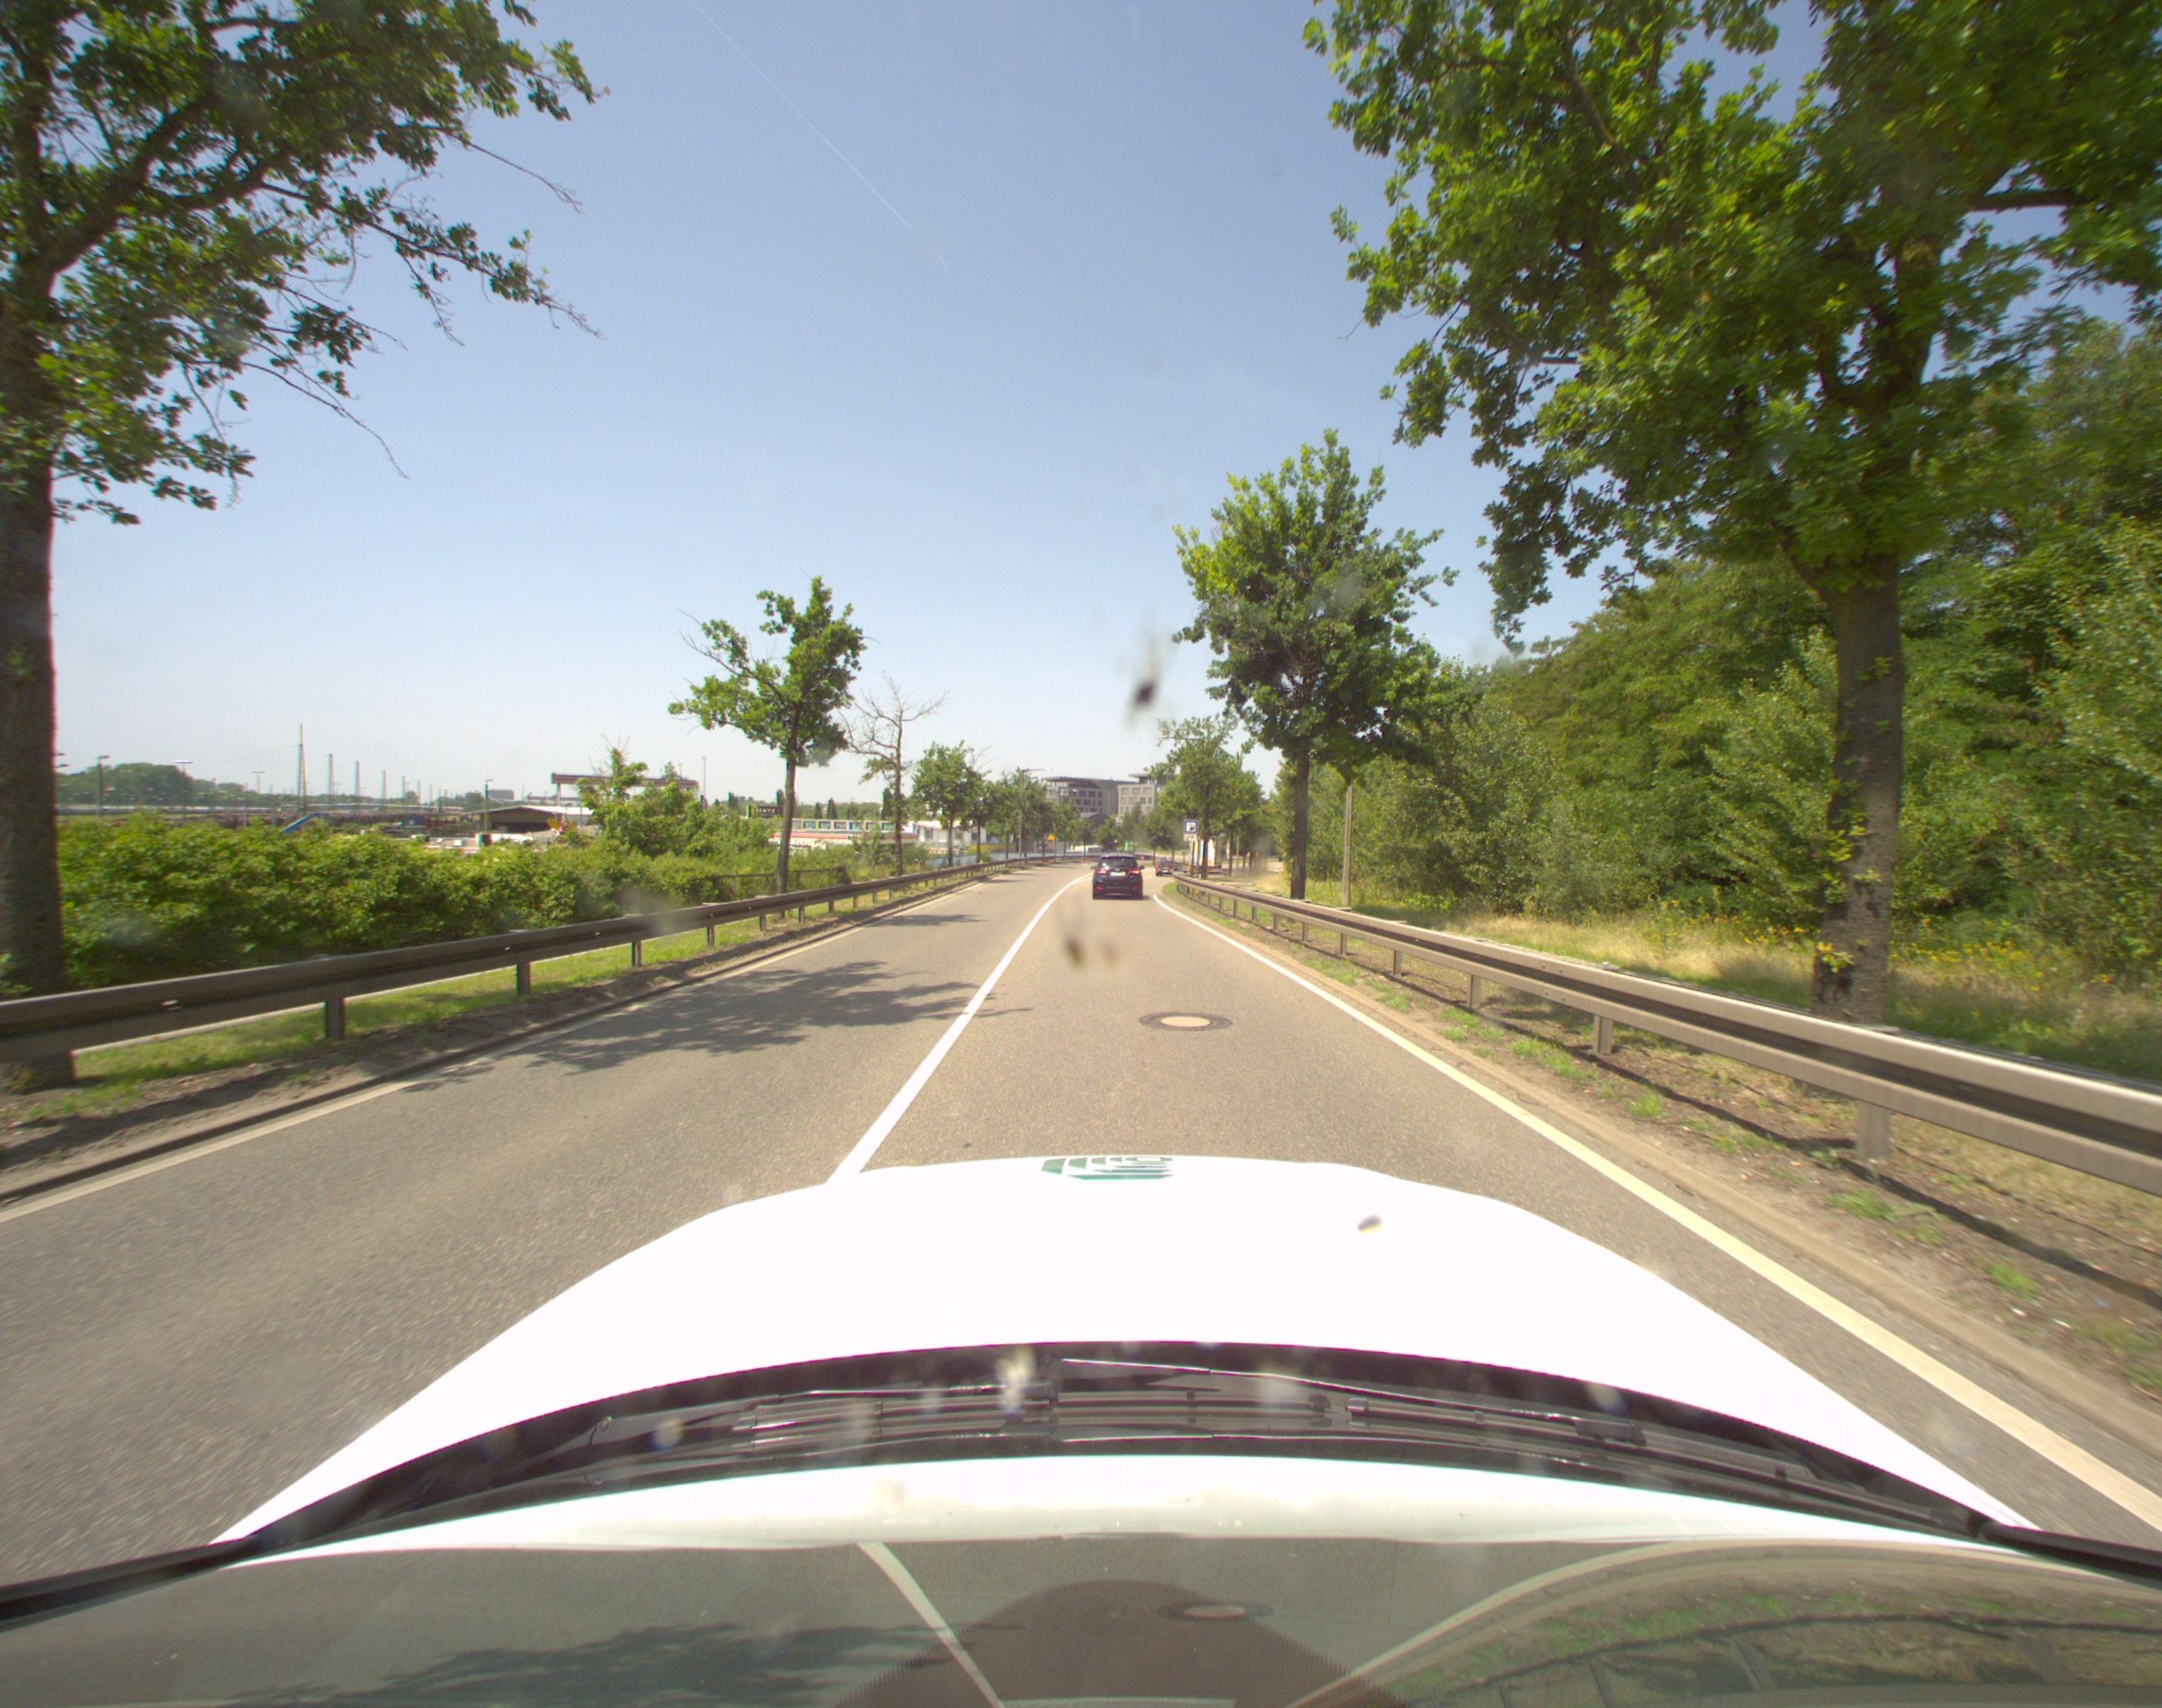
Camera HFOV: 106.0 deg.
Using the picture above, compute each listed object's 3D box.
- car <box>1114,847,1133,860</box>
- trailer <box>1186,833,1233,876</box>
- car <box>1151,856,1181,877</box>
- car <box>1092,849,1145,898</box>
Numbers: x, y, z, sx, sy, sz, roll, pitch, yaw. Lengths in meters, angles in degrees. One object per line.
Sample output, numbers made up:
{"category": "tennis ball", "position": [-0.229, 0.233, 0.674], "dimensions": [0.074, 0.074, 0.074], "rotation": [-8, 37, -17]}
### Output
{"category": "car", "position": [6.518, -0.060, 124.142], "dimensions": [1.792, 1.759, 4.272], "rotation": [2, 0, 18]}
{"category": "trailer", "position": [14.803, -0.092, 92.488], "dimensions": [3.054, 4.367, 14.842], "rotation": [2, 2, 17]}
{"category": "car", "position": [7.149, 1.033, 68.147], "dimensions": [1.943, 1.633, 4.295], "rotation": [1, 0, 13]}
{"category": "car", "position": [1.337, 0.657, 29.606], "dimensions": [1.760, 1.599, 4.079], "rotation": [2, 1, 2]}
